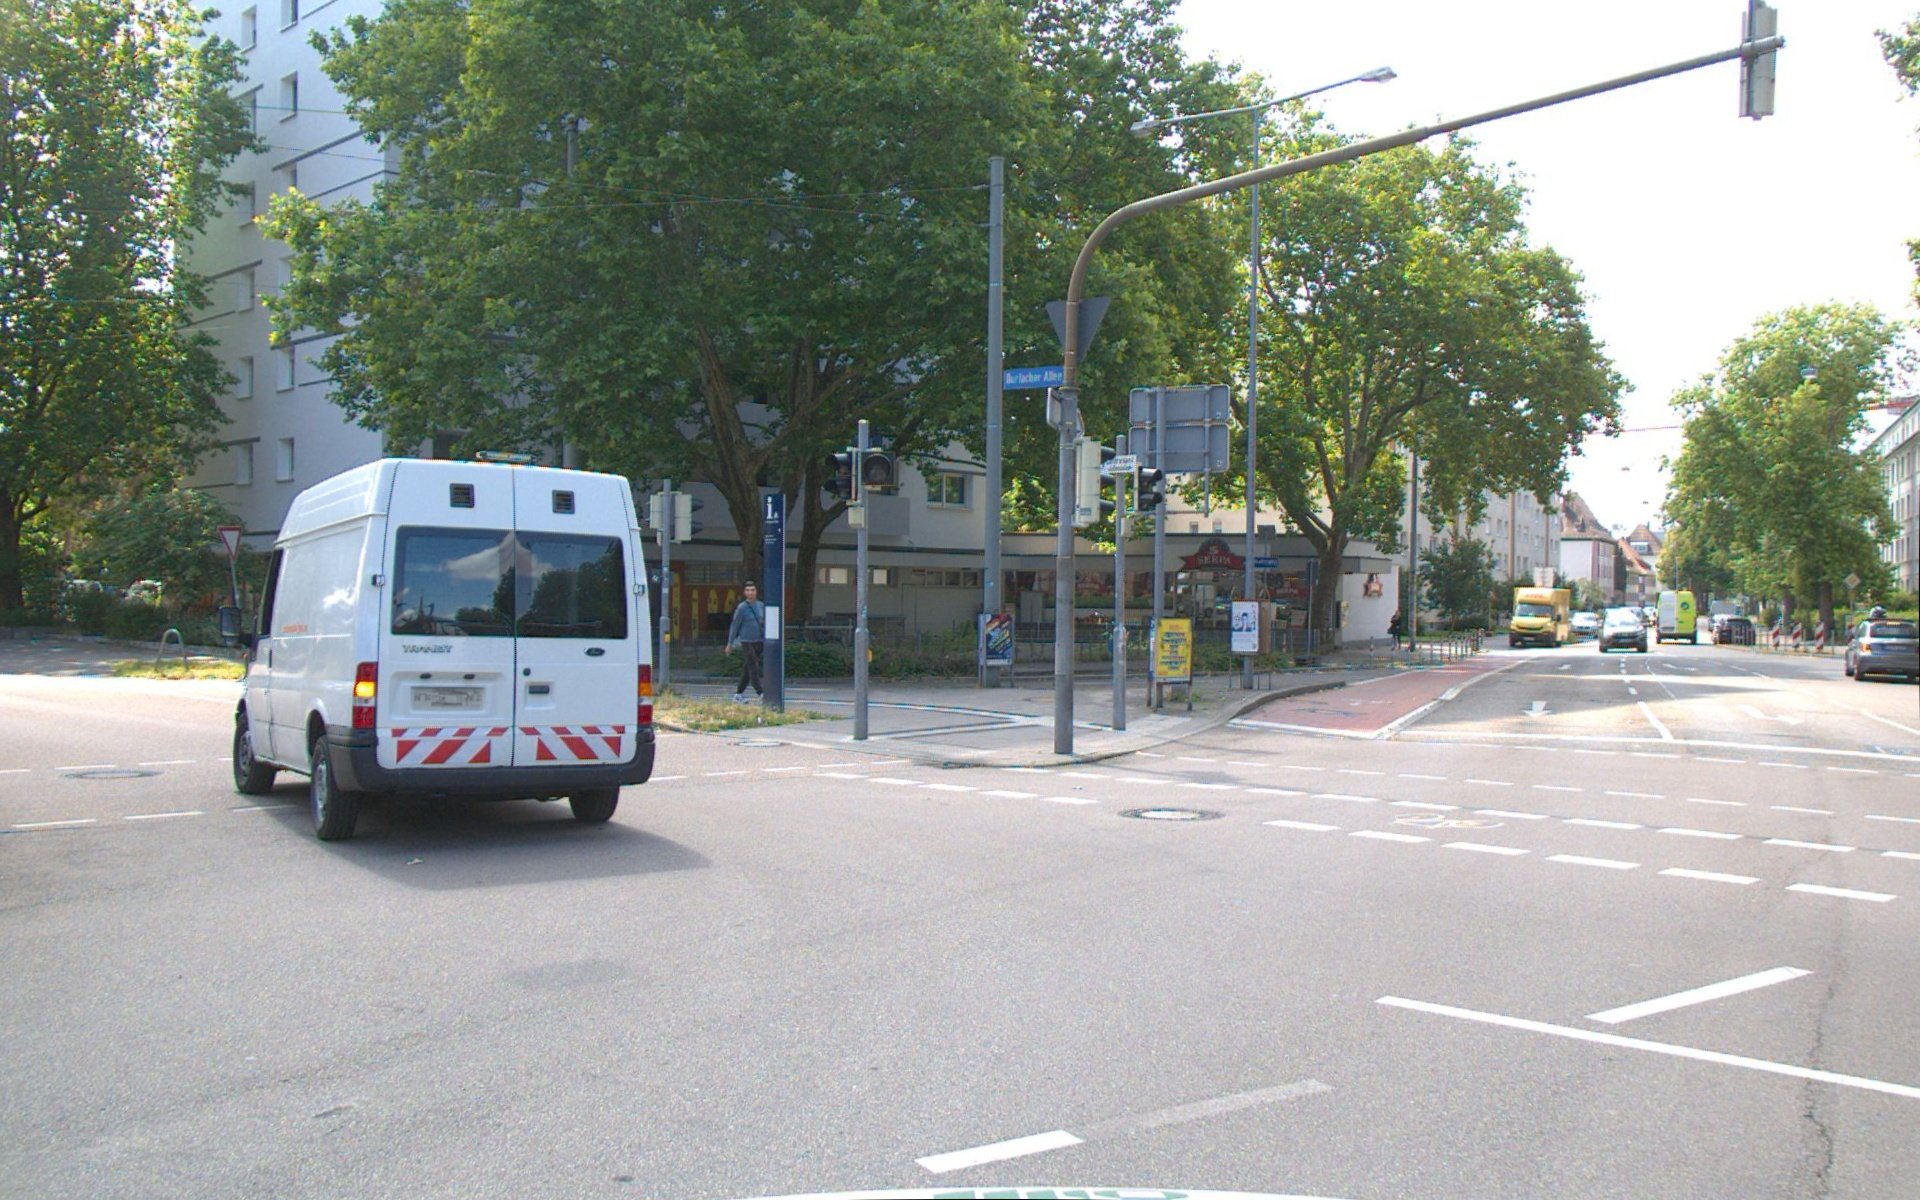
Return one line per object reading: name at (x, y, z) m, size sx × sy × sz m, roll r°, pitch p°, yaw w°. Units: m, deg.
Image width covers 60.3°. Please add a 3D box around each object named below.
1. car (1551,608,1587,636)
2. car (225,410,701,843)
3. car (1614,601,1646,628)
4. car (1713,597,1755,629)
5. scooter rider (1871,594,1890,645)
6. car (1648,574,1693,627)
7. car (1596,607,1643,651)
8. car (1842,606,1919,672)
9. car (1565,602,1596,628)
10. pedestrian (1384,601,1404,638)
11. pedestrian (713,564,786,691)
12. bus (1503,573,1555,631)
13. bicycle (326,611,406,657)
car at (36.074, 1.281, 97.877) m, size 1.808 × 1.590 × 3.999 m, roll 0°, pitch 0°, yaw 23°
car at (-3.689, 0.115, 11.606) m, size 2.028 × 2.373 × 4.662 m, roll -1°, pitch 1°, yaw -32°
car at (44.002, 0.955, 108.568) m, size 1.824 × 1.690 × 3.747 m, roll 0°, pitch 0°, yaw 24°
car at (39.295, 0.640, 84.047) m, size 1.689 × 1.582 × 3.633 m, roll 0°, pitch 0°, yaw 22°
scooter rider at (33.569, 0.690, 60.304) m, size 0.515 × 1.843 × 0.649 m, roll 0°, pitch 0°, yaw 20°
car at (37.401, 0.001, 87.159) m, size 2.076 × 2.687 × 6.327 m, roll 0°, pitch 1°, yaw 22°
car at (27.241, 1.179, 68.251) m, size 1.750 × 1.690 × 4.315 m, roll 0°, pitch 0°, yaw 23°
car at (23.773, 0.964, 42.700) m, size 1.659 × 1.564 × 3.465 m, roll 0°, pitch 1°, yaw 26°
car at (41.484, 0.985, 110.492) m, size 1.694 × 1.690 × 3.747 m, roll 0°, pitch 0°, yaw 24°
pedestrian at (17.793, 0.778, 67.742) m, size 0.656 × 1.505 × 0.574 m, roll 1°, pitch 0°, yaw 29°
pedestrian at (-3.073, 0.385, 24.121) m, size 0.689 × 1.814 × 0.873 m, roll 0°, pitch 0°, yaw -43°
bus at (28.359, 0.104, 82.349) m, size 2.344 × 2.756 × 6.372 m, roll 0°, pitch 0°, yaw 19°
bicycle at (-13.613, 0.768, 37.946) m, size 1.696 × 1.027 × 0.531 m, roll 0°, pitch 0°, yaw -18°
